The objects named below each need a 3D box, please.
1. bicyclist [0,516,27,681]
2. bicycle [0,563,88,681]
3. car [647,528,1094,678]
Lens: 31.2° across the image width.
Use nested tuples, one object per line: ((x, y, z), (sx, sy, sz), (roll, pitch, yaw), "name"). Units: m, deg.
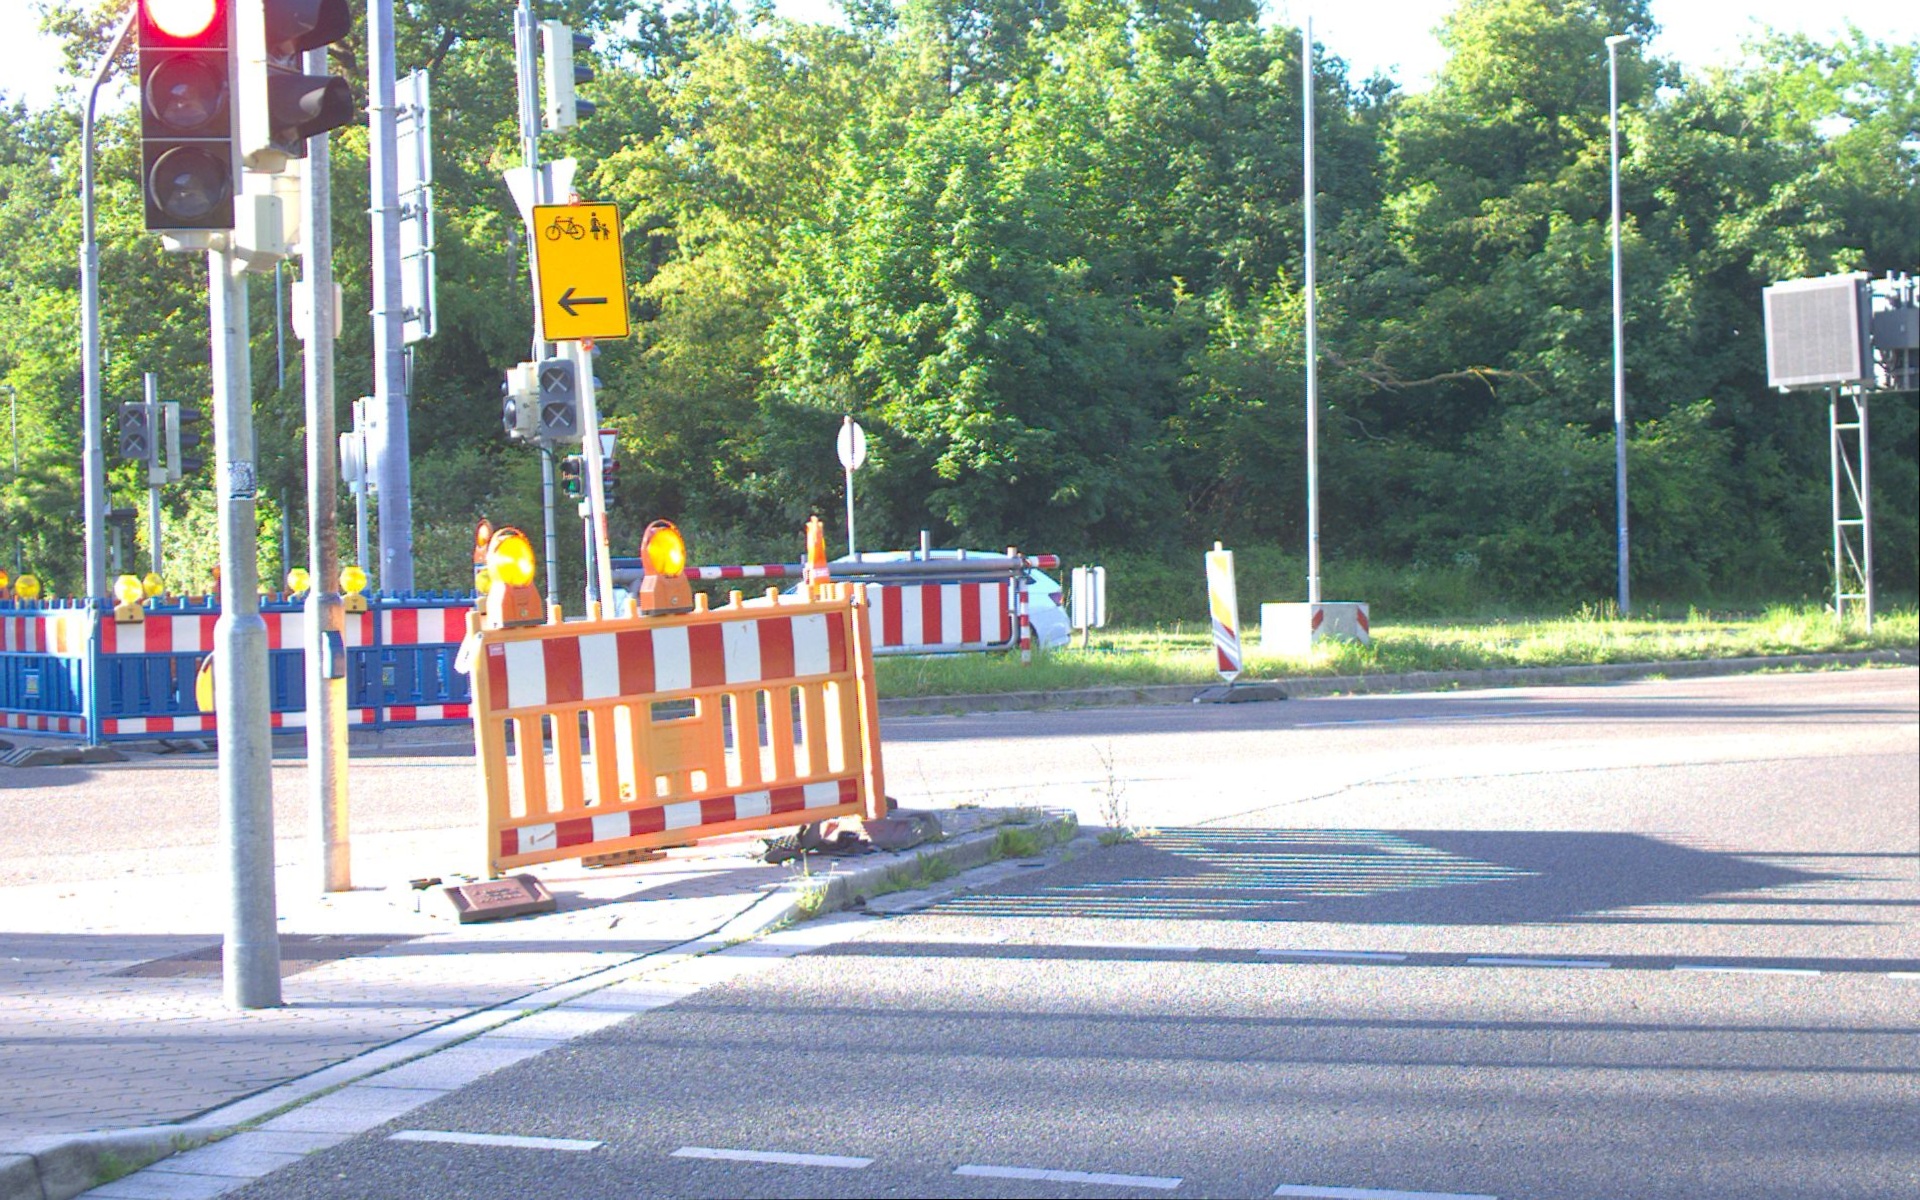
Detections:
((-11.683, -0.023, 40.452), (0.968, 1.923, 1.014), (1, 1, 44), "bicyclist")
((-11.686, 0.255, 40.471), (0.968, 1.378, 2.633), (1, 1, 44), "bicycle")
((-0.989, 0.002, 39.512), (4.818, 1.575, 2.000), (-2, 1, -35), "car")
